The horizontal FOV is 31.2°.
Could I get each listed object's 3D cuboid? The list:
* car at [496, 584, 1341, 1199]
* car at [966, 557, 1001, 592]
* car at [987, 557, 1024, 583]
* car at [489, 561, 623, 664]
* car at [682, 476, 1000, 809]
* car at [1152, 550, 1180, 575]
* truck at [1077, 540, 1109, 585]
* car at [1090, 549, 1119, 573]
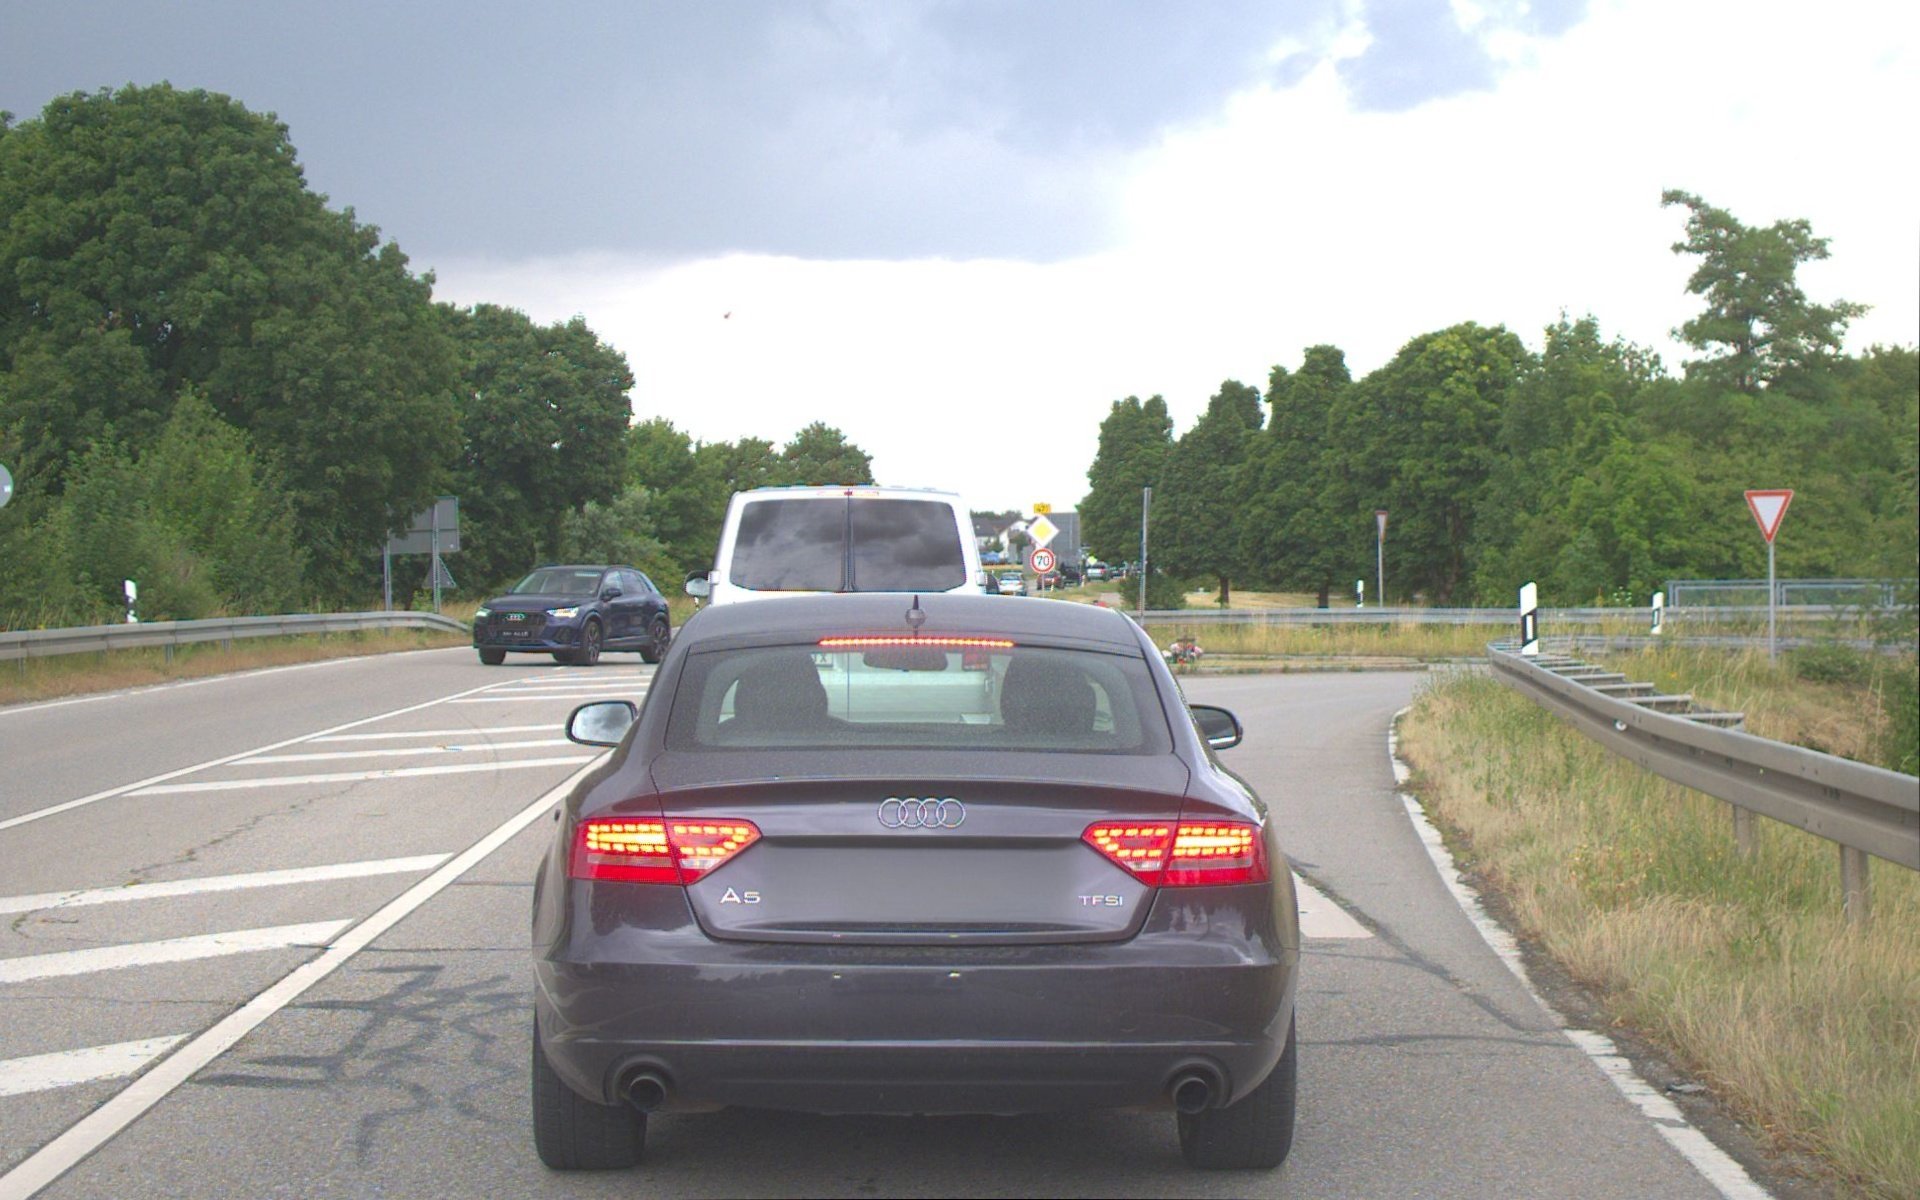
[{"bbox_3d":[-0.145,0.674,8.925,1.779,1.394,3.337,0,1,-2],"label":"car"},{"bbox_3d":[1.417,-1.524,205.677,1.993,2.007,4.000,1,1,1],"label":"car"},{"bbox_3d":[2.924,-1.972,223.728,2.205,1.577,4.379,1,1,-2],"label":"car"},{"bbox_3d":[-6.348,0.167,54.335,1.709,1.513,4.210,1,1,-1],"label":"car"},{"bbox_3d":[-0.788,0.222,22.956,1.910,2.007,4.000,1,1,-2],"label":"car"},{"bbox_3d":[14.404,-2.648,239.930,1.876,1.686,4.000,1,1,4],"label":"car"},{"bbox_3d":[8.825,-2.492,228.894,1.993,2.908,5.793,1,1,2],"label":"truck"},{"bbox_3d":[10.383,-2.797,246.999,1.993,1.686,4.000,1,1,1],"label":"car"}]
